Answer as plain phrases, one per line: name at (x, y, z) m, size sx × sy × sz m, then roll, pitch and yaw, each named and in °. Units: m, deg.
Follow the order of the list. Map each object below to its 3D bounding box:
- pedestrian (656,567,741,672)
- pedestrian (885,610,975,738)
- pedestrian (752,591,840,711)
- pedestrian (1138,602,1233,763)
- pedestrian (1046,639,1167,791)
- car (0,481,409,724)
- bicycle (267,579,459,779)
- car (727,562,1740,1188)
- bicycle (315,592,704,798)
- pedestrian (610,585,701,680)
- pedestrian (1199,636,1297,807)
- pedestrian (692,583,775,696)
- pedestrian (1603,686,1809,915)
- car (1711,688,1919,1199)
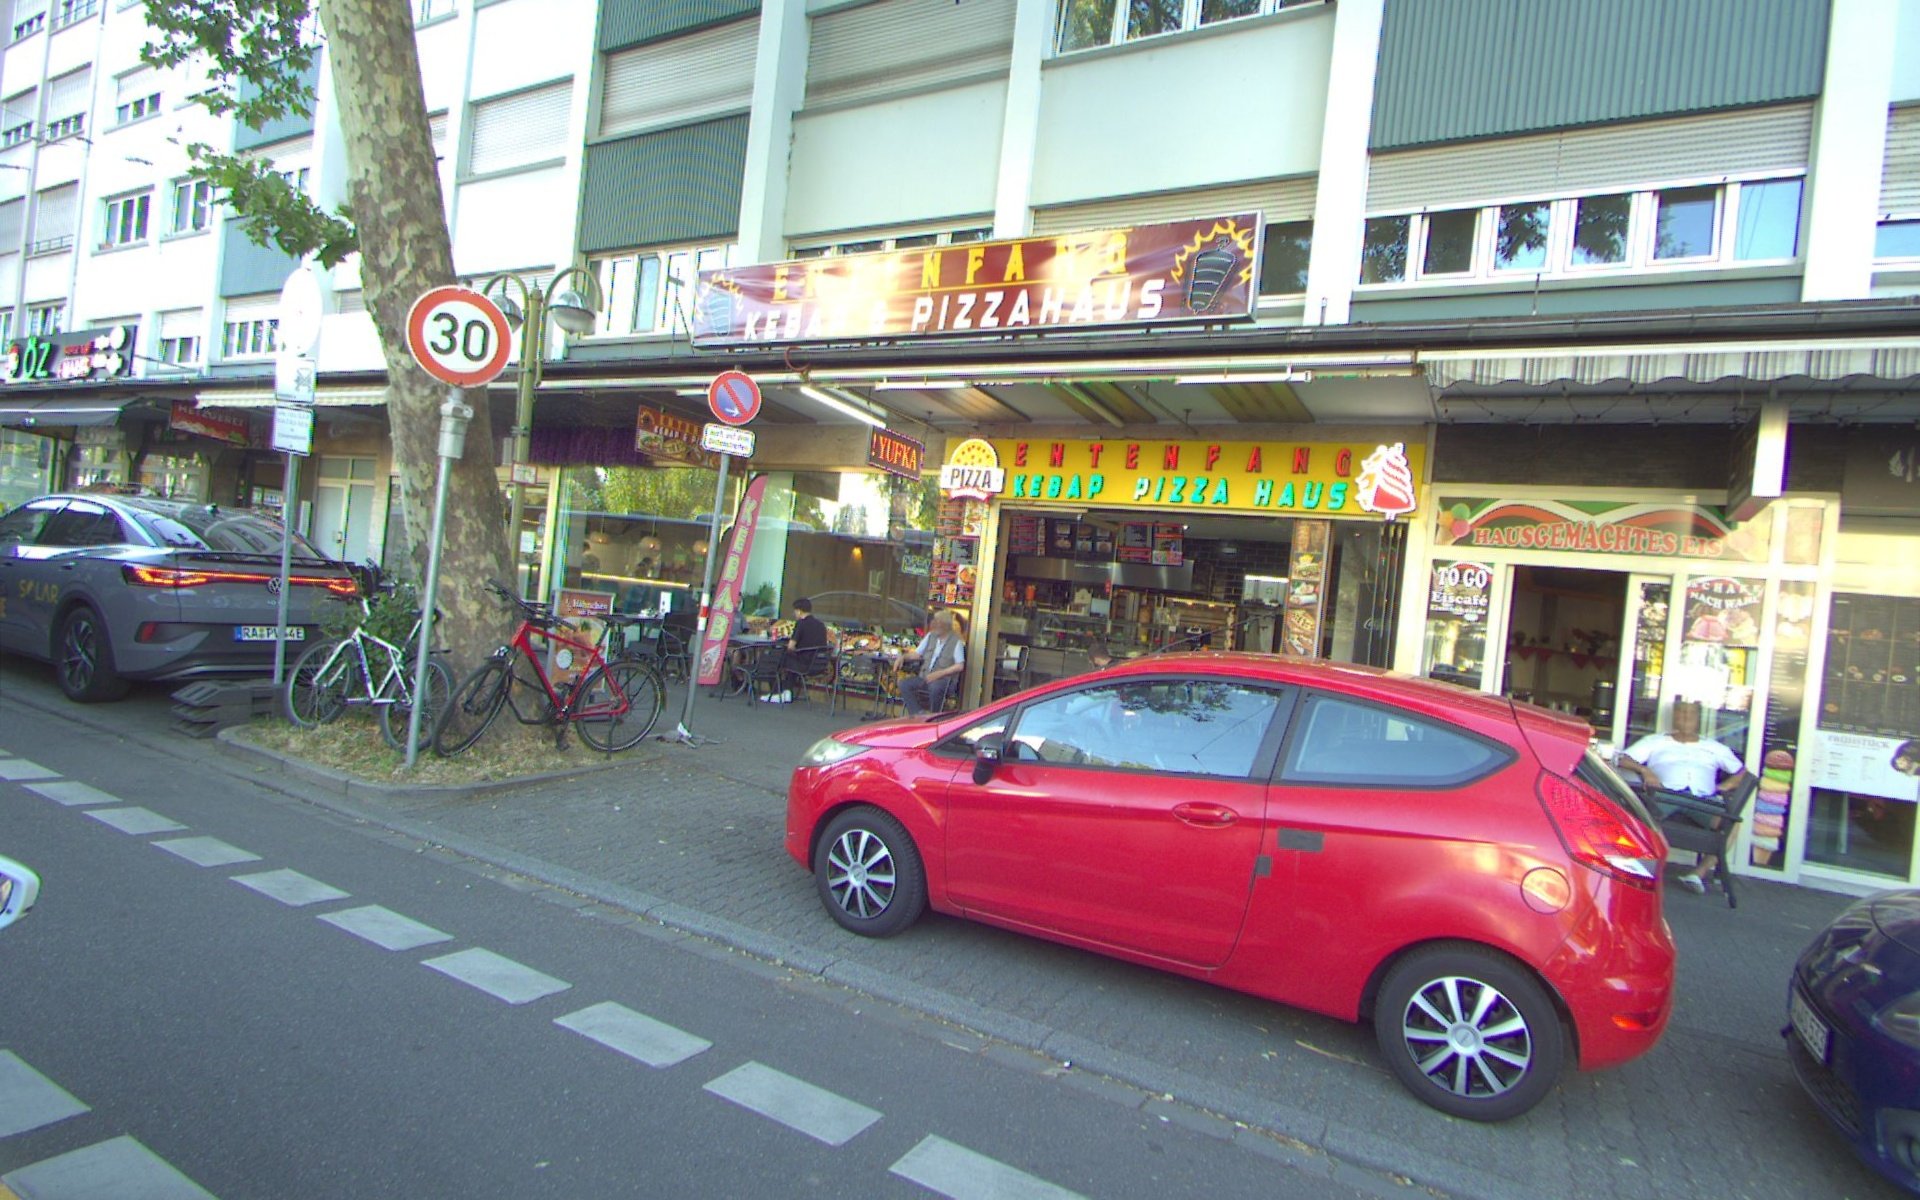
pedestrian at (-3.704, 0.268, 14.325) m, size 0.958 × 1.350 × 0.830 m, roll 6°, pitch 0°, yaw -9°
pedestrian at (-0.310, 0.764, 10.590) m, size 0.550 × 1.252 × 0.689 m, roll 7°, pitch 2°, yaw 29°
pedestrian at (-1.866, 0.572, 11.427) m, size 0.679 × 1.261 × 0.558 m, roll 7°, pitch 2°, yaw 33°
pedestrian at (2.360, 0.857, 10.506) m, size 0.589 × 1.566 × 0.700 m, roll 7°, pitch 0°, yaw 34°
pedestrian at (1.341, 1.016, 9.172) m, size 0.798 × 1.225 × 0.654 m, roll 7°, pitch 2°, yaw 28°
car at (-7.283, -0.110, 9.008) m, size 4.292 × 1.603 × 1.996 m, roll 7°, pitch 2°, yaw 27°
bicycle at (-4.185, 0.514, 7.022) m, size 1.421 × 1.169 × 0.553 m, roll 6°, pitch 0°, yaw 36°
car at (1.006, 0.820, 4.700) m, size 3.757 × 1.617 × 1.783 m, roll 6°, pitch 3°, yaw 28°
bicycle at (-2.963, 0.567, 6.882) m, size 0.547 × 1.171 × 2.377 m, roll 7°, pitch 4°, yaw 44°
pedestrian at (-3.928, 0.411, 13.021) m, size 0.940 × 1.094 × 0.639 m, roll 7°, pitch 0°, yaw -9°
pedestrian at (2.849, 1.178, 9.933) m, size 0.589 × 1.560 × 0.700 m, roll 7°, pitch 0°, yaw 34°
pedestrian at (-2.709, 0.469, 12.029) m, size 0.680 × 1.261 × 0.557 m, roll 7°, pitch 2°, yaw 38°
pedestrian at (5.241, 1.349, 7.166) m, size 0.937 × 1.352 × 1.069 m, roll 7°, pitch 0°, yaw 30°
car at (4.406, 1.268, 2.637) m, size 3.549 × 1.488 × 1.767 m, roll 6°, pitch 3°, yaw 29°
